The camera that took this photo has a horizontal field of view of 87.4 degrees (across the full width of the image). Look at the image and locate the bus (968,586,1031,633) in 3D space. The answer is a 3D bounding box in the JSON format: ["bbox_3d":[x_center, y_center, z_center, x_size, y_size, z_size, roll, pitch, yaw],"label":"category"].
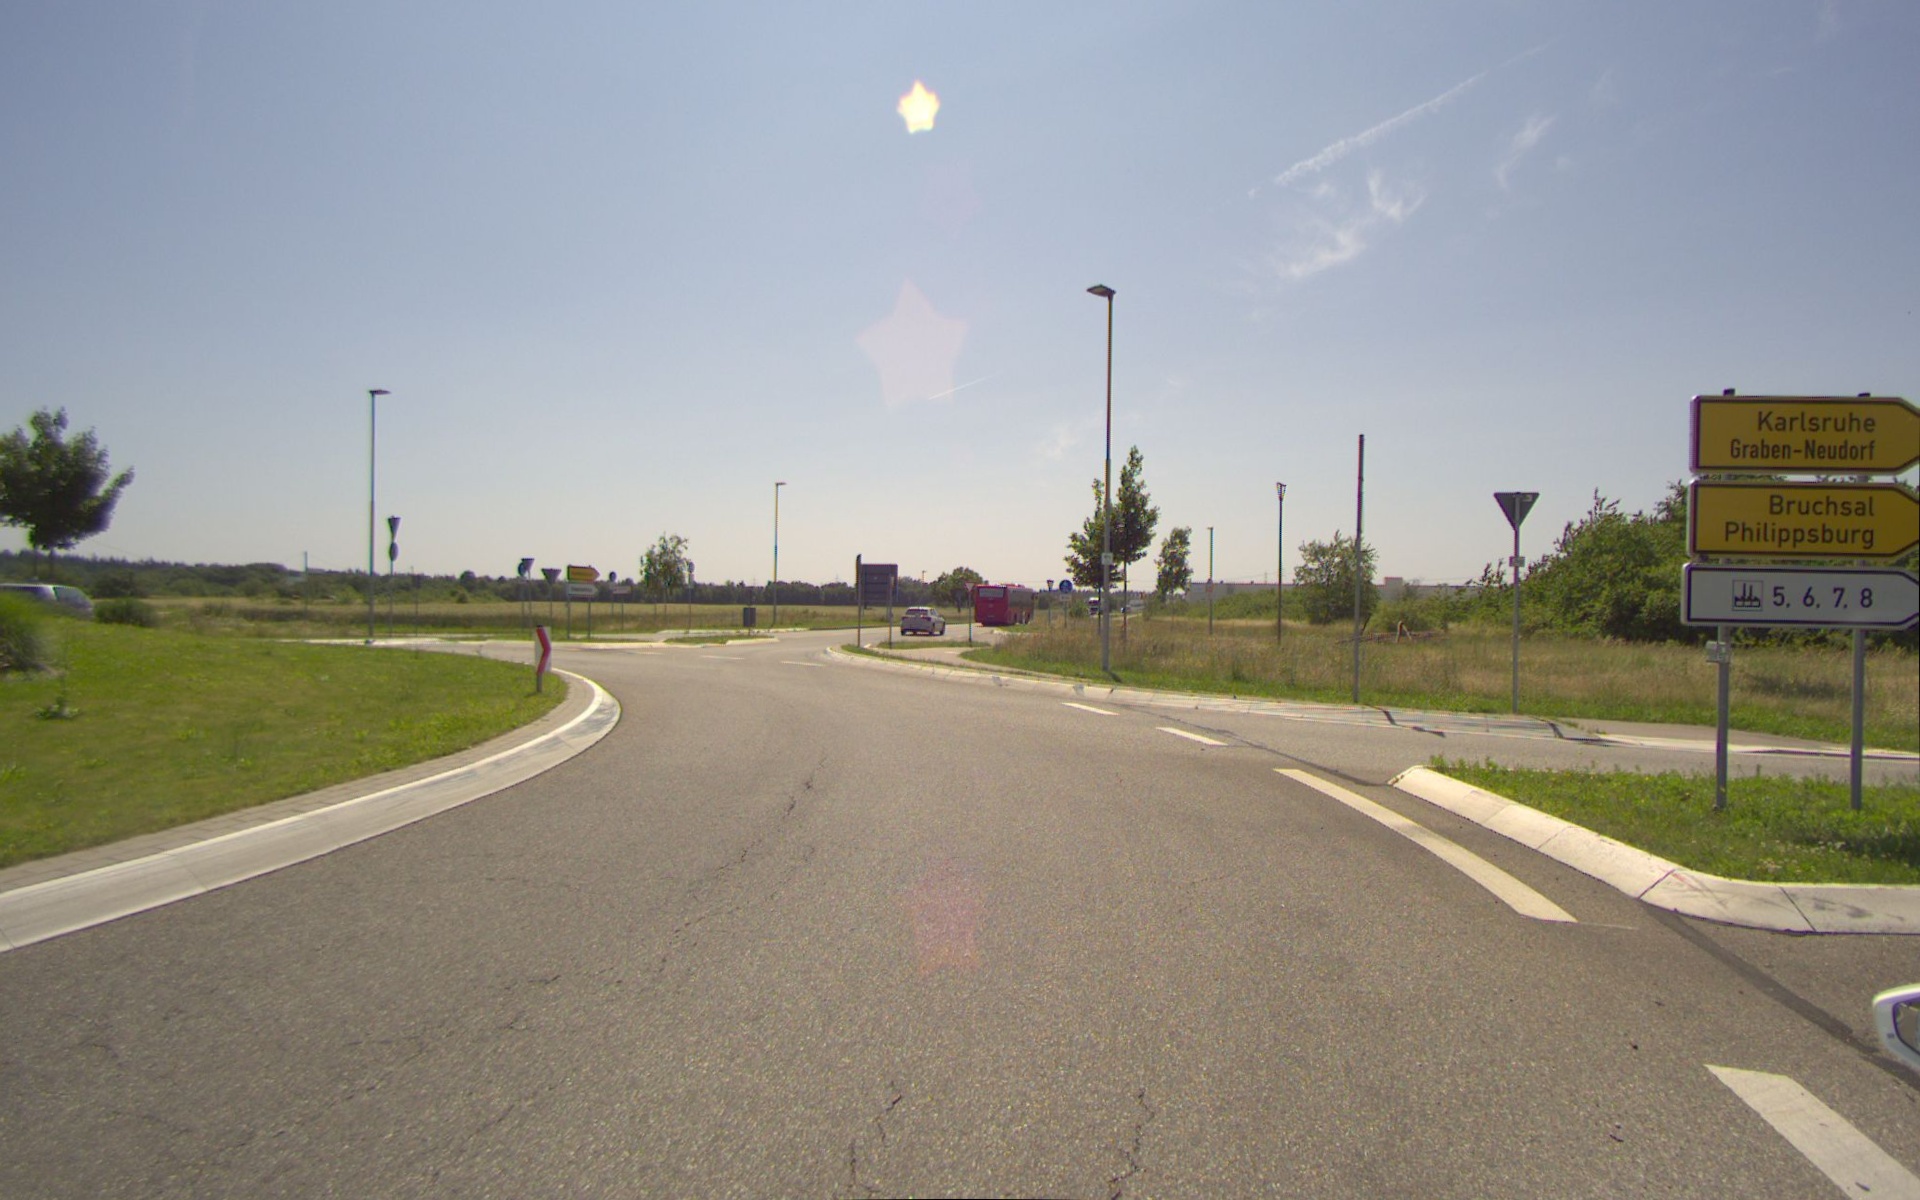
[{"bbox_3d":[3.259,0.741,78.028,3.246,3.353,11.998,1,-1,10],"label":"bus"}]

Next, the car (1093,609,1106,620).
[{"bbox_3d":[23.316,2.455,167.800,1.959,1.871,4.175,1,-1,11],"label":"car"}]

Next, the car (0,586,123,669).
[{"bbox_3d":[-20.802,0.561,21.782,3.919,1.696,1.779,1,0,4],"label":"car"}]

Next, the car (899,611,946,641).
[{"bbox_3d":[-1.910,1.346,52.420,1.694,1.483,3.604,1,-1,11],"label":"car"}]

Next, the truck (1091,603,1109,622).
[{"bbox_3d":[32.778,2.938,235.123,3.210,4.395,12.065,1,0,12],"label":"truck"}]
